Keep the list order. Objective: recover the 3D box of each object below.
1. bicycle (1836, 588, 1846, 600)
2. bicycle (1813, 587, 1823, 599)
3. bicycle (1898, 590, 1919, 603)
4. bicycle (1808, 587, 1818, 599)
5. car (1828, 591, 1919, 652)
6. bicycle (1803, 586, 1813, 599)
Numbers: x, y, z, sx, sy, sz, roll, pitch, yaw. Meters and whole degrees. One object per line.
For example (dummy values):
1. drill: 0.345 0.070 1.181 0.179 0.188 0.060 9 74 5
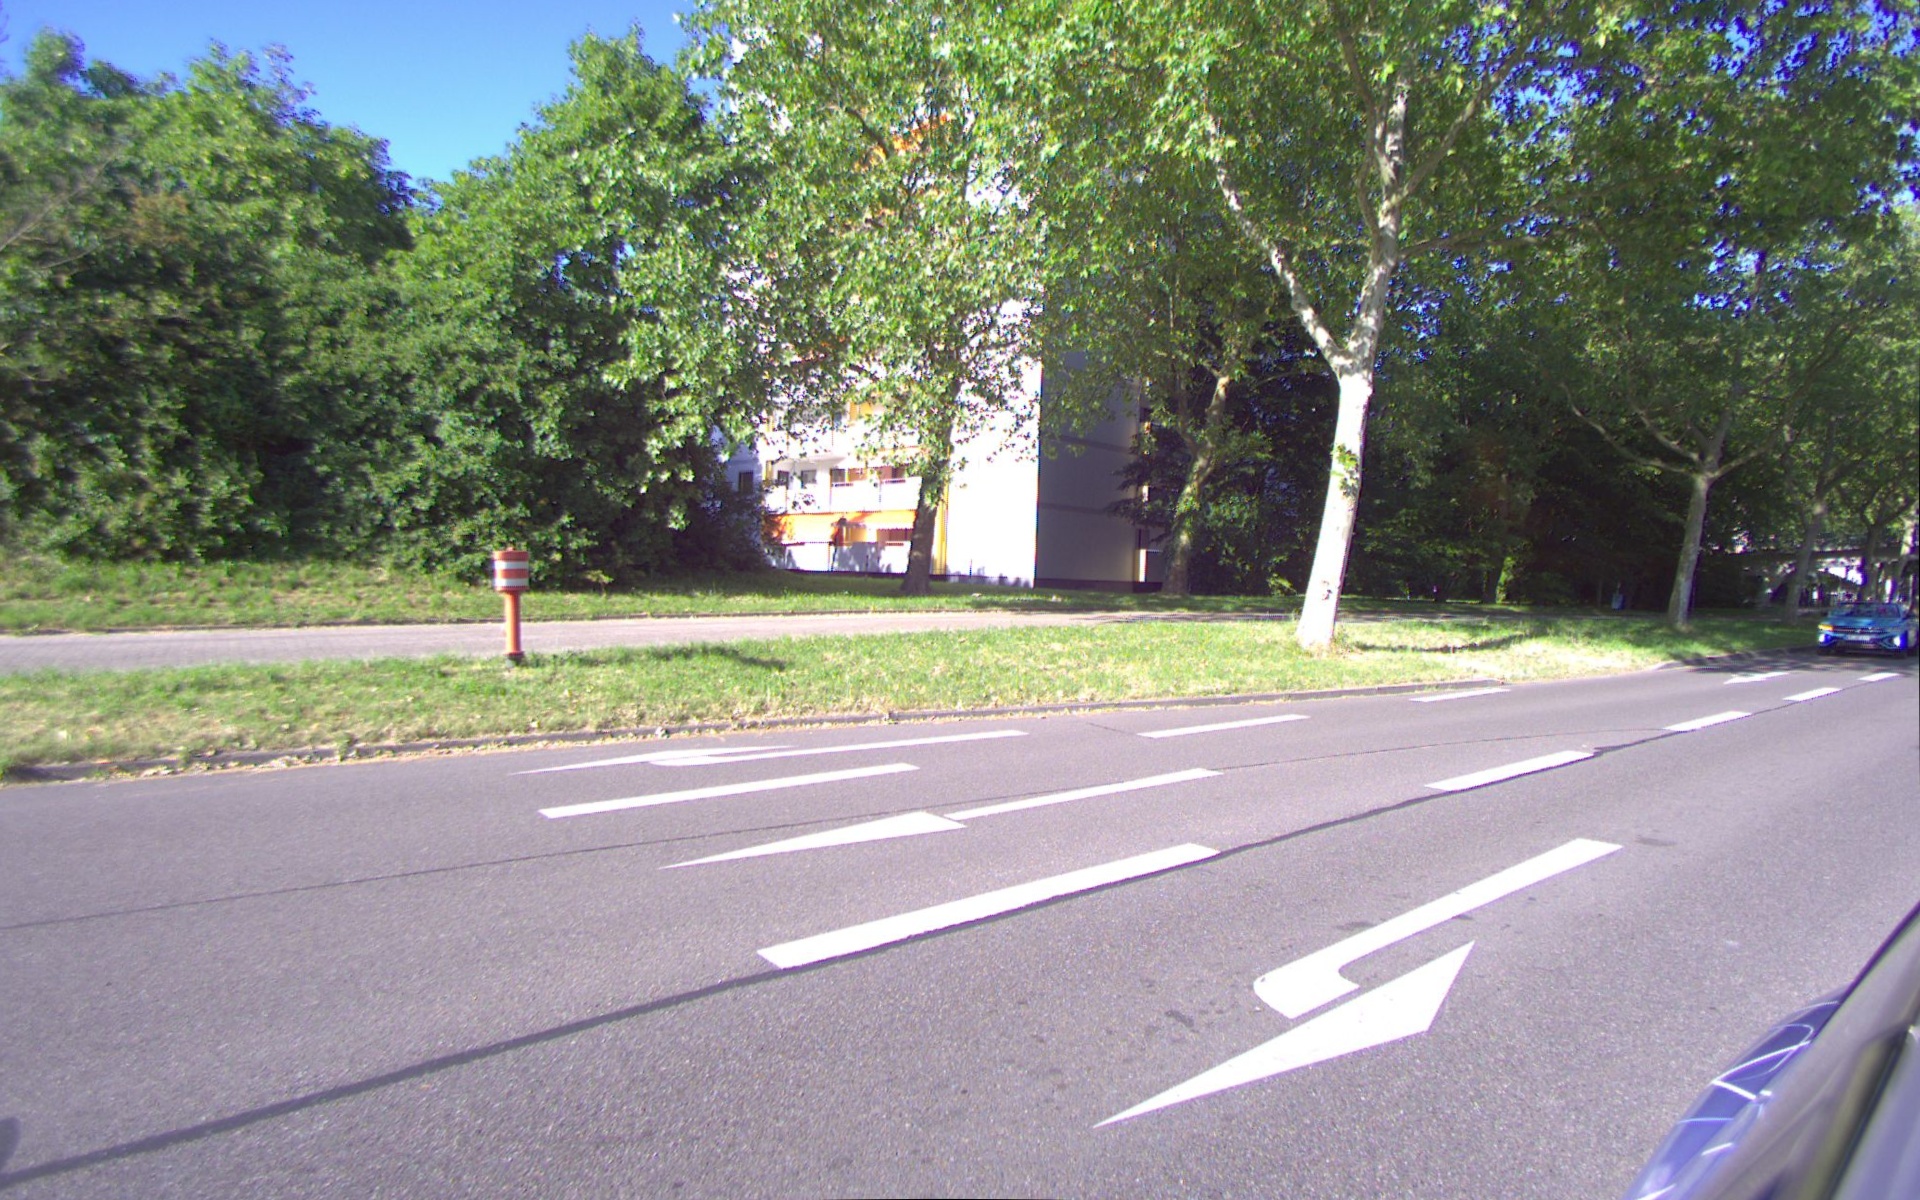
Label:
1. bicycle: 94.483 -0.672 108.564 1.775 1.269 0.576 0 1 -42
2. bicycle: 91.942 -0.762 108.390 1.775 1.269 0.576 0 1 -42
3. bicycle: 96.048 -0.355 102.058 2.064 1.172 0.554 4 3 40
4. bicycle: 87.420 -0.745 103.713 1.775 1.269 0.576 0 1 -42
5. car: 24.917 0.522 27.209 4.027 1.502 1.779 0 1 -40
6. bicycle: 84.609 -0.712 100.959 1.775 1.269 0.576 0 1 -42
